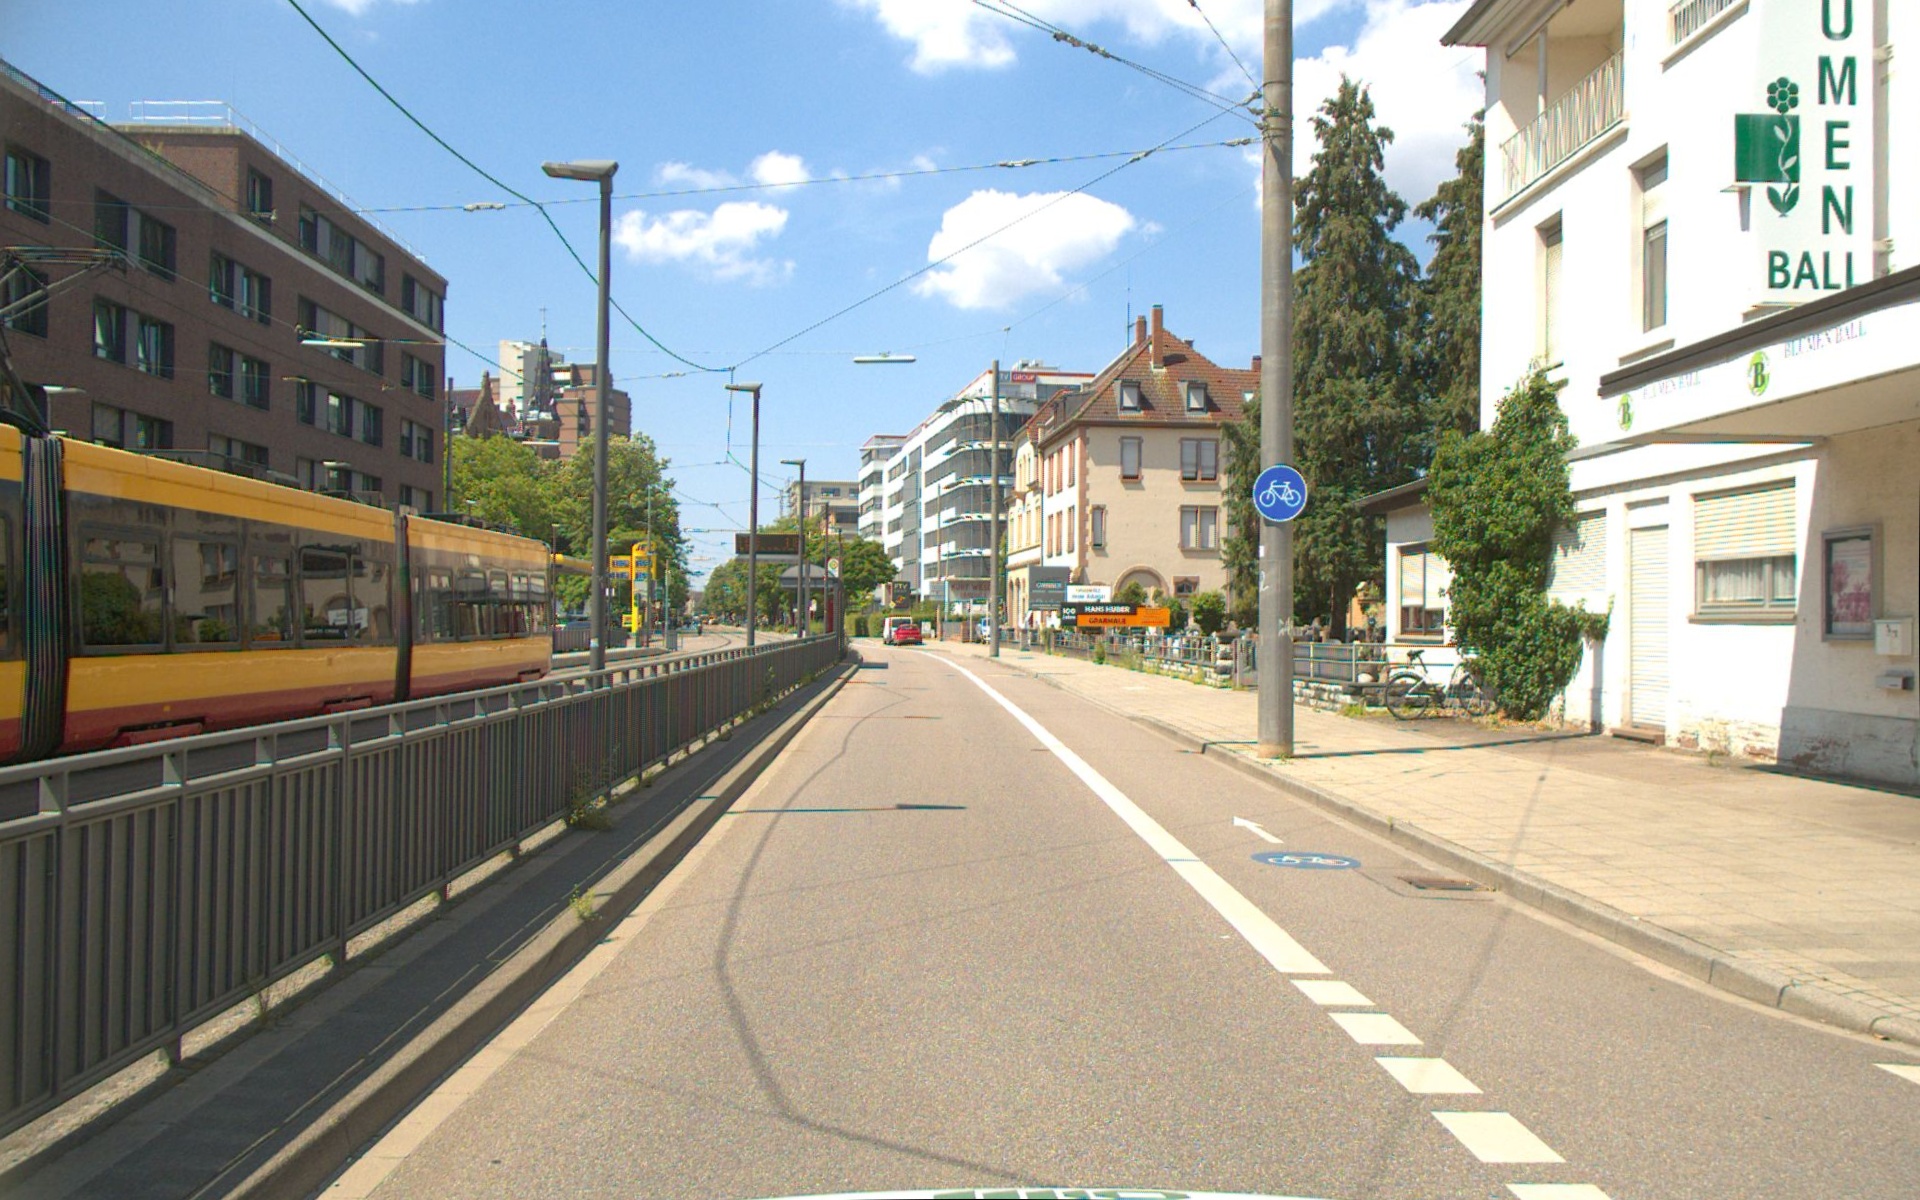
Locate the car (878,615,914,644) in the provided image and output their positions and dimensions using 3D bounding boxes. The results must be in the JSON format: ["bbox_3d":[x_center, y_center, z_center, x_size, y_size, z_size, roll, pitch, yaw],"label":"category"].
[{"bbox_3d":[-4.702,2.120,120.569,1.957,2.026,5.502,-1,-1,-9],"label":"car"}]

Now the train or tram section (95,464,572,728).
[{"bbox_3d":[-10.532,0.137,30.943,3.170,3.630,16.341,0,-1,-2],"label":"train or tram section"}]

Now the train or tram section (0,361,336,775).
[{"bbox_3d":[-9.954,-0.321,12.692,3.185,3.630,20.490,0,-1,-2],"label":"train or tram section"}]

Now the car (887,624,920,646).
[{"bbox_3d":[-3.912,2.406,114.090,1.956,1.467,4.009,0,-1,-8],"label":"car"}]

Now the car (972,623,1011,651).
[{"bbox_3d":[1.962,2.343,104.780,1.842,1.653,4.632,-2,-1,-7],"label":"car"}]

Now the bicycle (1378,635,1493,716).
[{"bbox_3d":[6.853,1.082,23.854,1.500,1.105,0.429,-2,-1,4],"label":"bicycle"}]
